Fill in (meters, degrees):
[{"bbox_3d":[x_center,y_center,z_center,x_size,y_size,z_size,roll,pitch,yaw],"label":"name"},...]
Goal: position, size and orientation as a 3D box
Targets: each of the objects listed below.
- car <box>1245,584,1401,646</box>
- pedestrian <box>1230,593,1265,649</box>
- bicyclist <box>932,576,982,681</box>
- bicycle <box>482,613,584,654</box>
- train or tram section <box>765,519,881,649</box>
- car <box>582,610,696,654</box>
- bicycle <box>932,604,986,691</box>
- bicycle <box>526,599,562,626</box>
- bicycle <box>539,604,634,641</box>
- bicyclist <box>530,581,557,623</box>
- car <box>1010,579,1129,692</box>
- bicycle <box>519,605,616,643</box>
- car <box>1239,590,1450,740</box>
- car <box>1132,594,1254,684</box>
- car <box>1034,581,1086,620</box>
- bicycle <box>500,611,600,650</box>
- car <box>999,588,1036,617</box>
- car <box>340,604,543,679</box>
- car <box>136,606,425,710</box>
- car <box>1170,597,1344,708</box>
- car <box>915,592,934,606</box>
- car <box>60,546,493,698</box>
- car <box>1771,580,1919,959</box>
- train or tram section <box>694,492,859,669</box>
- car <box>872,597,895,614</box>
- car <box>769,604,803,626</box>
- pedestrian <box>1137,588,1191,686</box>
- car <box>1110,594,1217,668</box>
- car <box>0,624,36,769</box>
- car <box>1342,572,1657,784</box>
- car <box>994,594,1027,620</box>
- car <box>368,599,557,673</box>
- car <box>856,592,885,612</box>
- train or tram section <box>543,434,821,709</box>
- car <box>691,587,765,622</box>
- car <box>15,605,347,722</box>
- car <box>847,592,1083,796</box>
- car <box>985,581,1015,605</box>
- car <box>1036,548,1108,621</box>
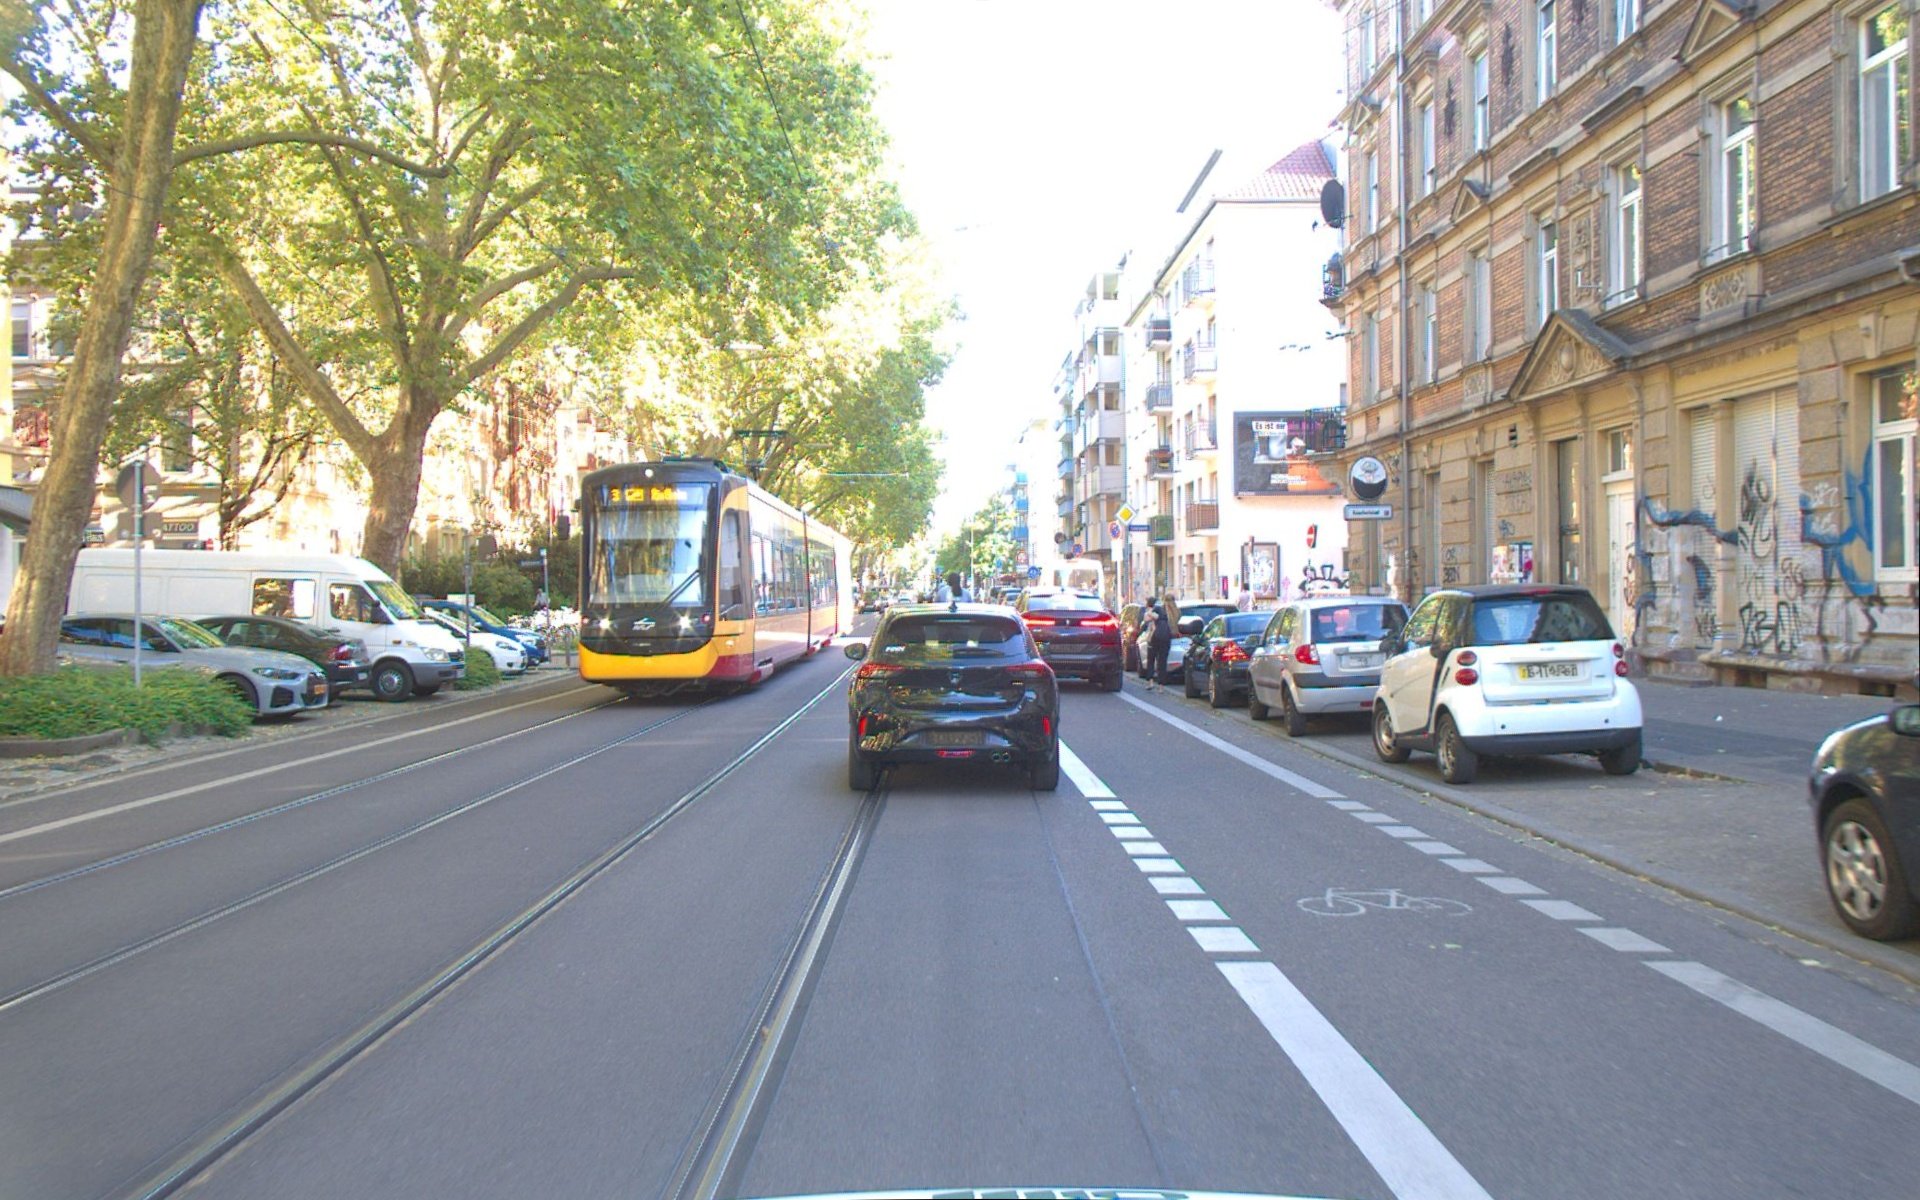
[{"bbox_3d":[10.941,0.451,49.988,4.289,1.830,1.876,0,0,-2],"label":"car"},{"bbox_3d":[8.209,0.585,47.259,0.849,1.594,0.768,0,0,-3],"label":"pedestrian"},{"bbox_3d":[-0.058,0.478,28.579,0.831,1.770,1.161,0,0,-2],"label":"bicyclist"},{"bbox_3d":[-12.886,1.002,49.979,2.880,1.190,0.991,0,0,16],"label":"bicycle"},{"bbox_3d":[-4.303,-0.481,54.704,2.679,3.746,12.716,-1,0,0],"label":"train or tram section"},{"bbox_3d":[-11.577,1.151,59.779,3.842,1.524,1.676,1,0,-4],"label":"car"},{"bbox_3d":[-0.044,0.796,28.701,0.843,1.431,2.523,0,0,-2],"label":"bicycle"},{"bbox_3d":[-18.253,0.538,72.587,0.967,1.190,2.951,0,0,-3],"label":"bicycle"},{"bbox_3d":[-12.068,0.723,53.506,2.880,1.190,0.991,0,0,16],"label":"bicycle"},{"bbox_3d":[-18.265,0.085,72.563,0.967,1.787,1.153,0,0,-3],"label":"bicyclist"},{"bbox_3d":[1.800,0.561,28.280,1.773,1.772,3.933,-1,0,0],"label":"car"},{"bbox_3d":[-12.451,0.759,52.468,2.880,1.190,0.991,0,0,16],"label":"bicycle"},{"bbox_3d":[4.414,0.688,19.510,1.670,1.481,3.698,-4,0,2],"label":"car"},{"bbox_3d":[4.219,0.673,30.509,1.628,1.444,3.933,-4,0,0],"label":"car"},{"bbox_3d":[3.967,0.013,65.951,1.773,1.361,3.933,-4,0,0],"label":"car"},{"bbox_3d":[-12.721,0.927,51.318,2.880,1.190,0.991,0,0,16],"label":"bicycle"},{"bbox_3d":[3.082,0.127,89.465,1.773,1.361,3.933,-4,0,0],"label":"car"},{"bbox_3d":[-11.100,0.883,35.584,3.842,1.524,1.676,1,0,-4],"label":"car"},{"bbox_3d":[-10.629,0.896,26.078,3.842,1.524,1.676,1,0,-4],"label":"car"},{"bbox_3d":[4.242,0.700,24.168,1.773,1.361,3.933,-4,0,0],"label":"car"},{"bbox_3d":[-3.523,-0.088,163.691,1.774,1.361,3.930,0,0,-3],"label":"car"},{"bbox_3d":[-11.787,0.372,28.939,6.493,2.451,2.457,1,0,-1],"label":"car"},{"bbox_3d":[4.729,0.650,5.875,1.676,1.509,3.762,-4,0,-2],"label":"car"},{"bbox_3d":[-4.348,-0.428,41.973,2.679,3.746,12.716,-1,0,0],"label":"train or tram section"},{"bbox_3d":[-6.742,0.500,145.674,1.773,1.361,3.933,-4,0,0],"label":"car"},{"bbox_3d":[-11.227,0.955,107.184,1.772,1.361,3.933,0,0,0],"label":"car"},{"bbox_3d":[3.381,0.607,27.431,0.848,1.594,0.769,0,0,4],"label":"pedestrian"},{"bbox_3d":[4.362,0.638,35.946,1.773,1.403,3.933,-4,0,0],"label":"car"},{"bbox_3d":[-11.536,0.949,16.509,3.658,1.455,1.637,1,0,-1],"label":"car"},{"bbox_3d":[4.577,0.612,14.460,1.536,1.543,3.038,-4,0,-3],"label":"car"},{"bbox_3d":[2.969,0.383,97.489,1.773,1.361,3.933,-4,0,0],"label":"car"},{"bbox_3d":[-11.380,0.812,38.038,3.842,1.605,1.676,1,0,-4],"label":"car"},{"bbox_3d":[-6.202,0.111,114.974,1.772,1.361,3.933,-1,0,0],"label":"car"},{"bbox_3d":[-4.377,-0.404,29.251,2.679,3.746,12.716,-1,0,0],"label":"train or tram section"},{"bbox_3d":[-12.680,0.239,90.506,3.842,1.821,1.676,1,0,-4],"label":"car"},{"bbox_3d":[-10.876,0.866,23.268,3.839,1.524,1.677,1,0,0],"label":"car"},{"bbox_3d":[0.002,0.687,14.058,1.757,1.466,3.530,0,1,-1],"label":"car"},{"bbox_3d":[2.583,-0.446,107.274,1.773,1.361,3.933,-4,0,0],"label":"car"},{"bbox_3d":[3.818,-0.514,57.097,2.033,2.257,4.933,-4,0,0],"label":"car"}]
